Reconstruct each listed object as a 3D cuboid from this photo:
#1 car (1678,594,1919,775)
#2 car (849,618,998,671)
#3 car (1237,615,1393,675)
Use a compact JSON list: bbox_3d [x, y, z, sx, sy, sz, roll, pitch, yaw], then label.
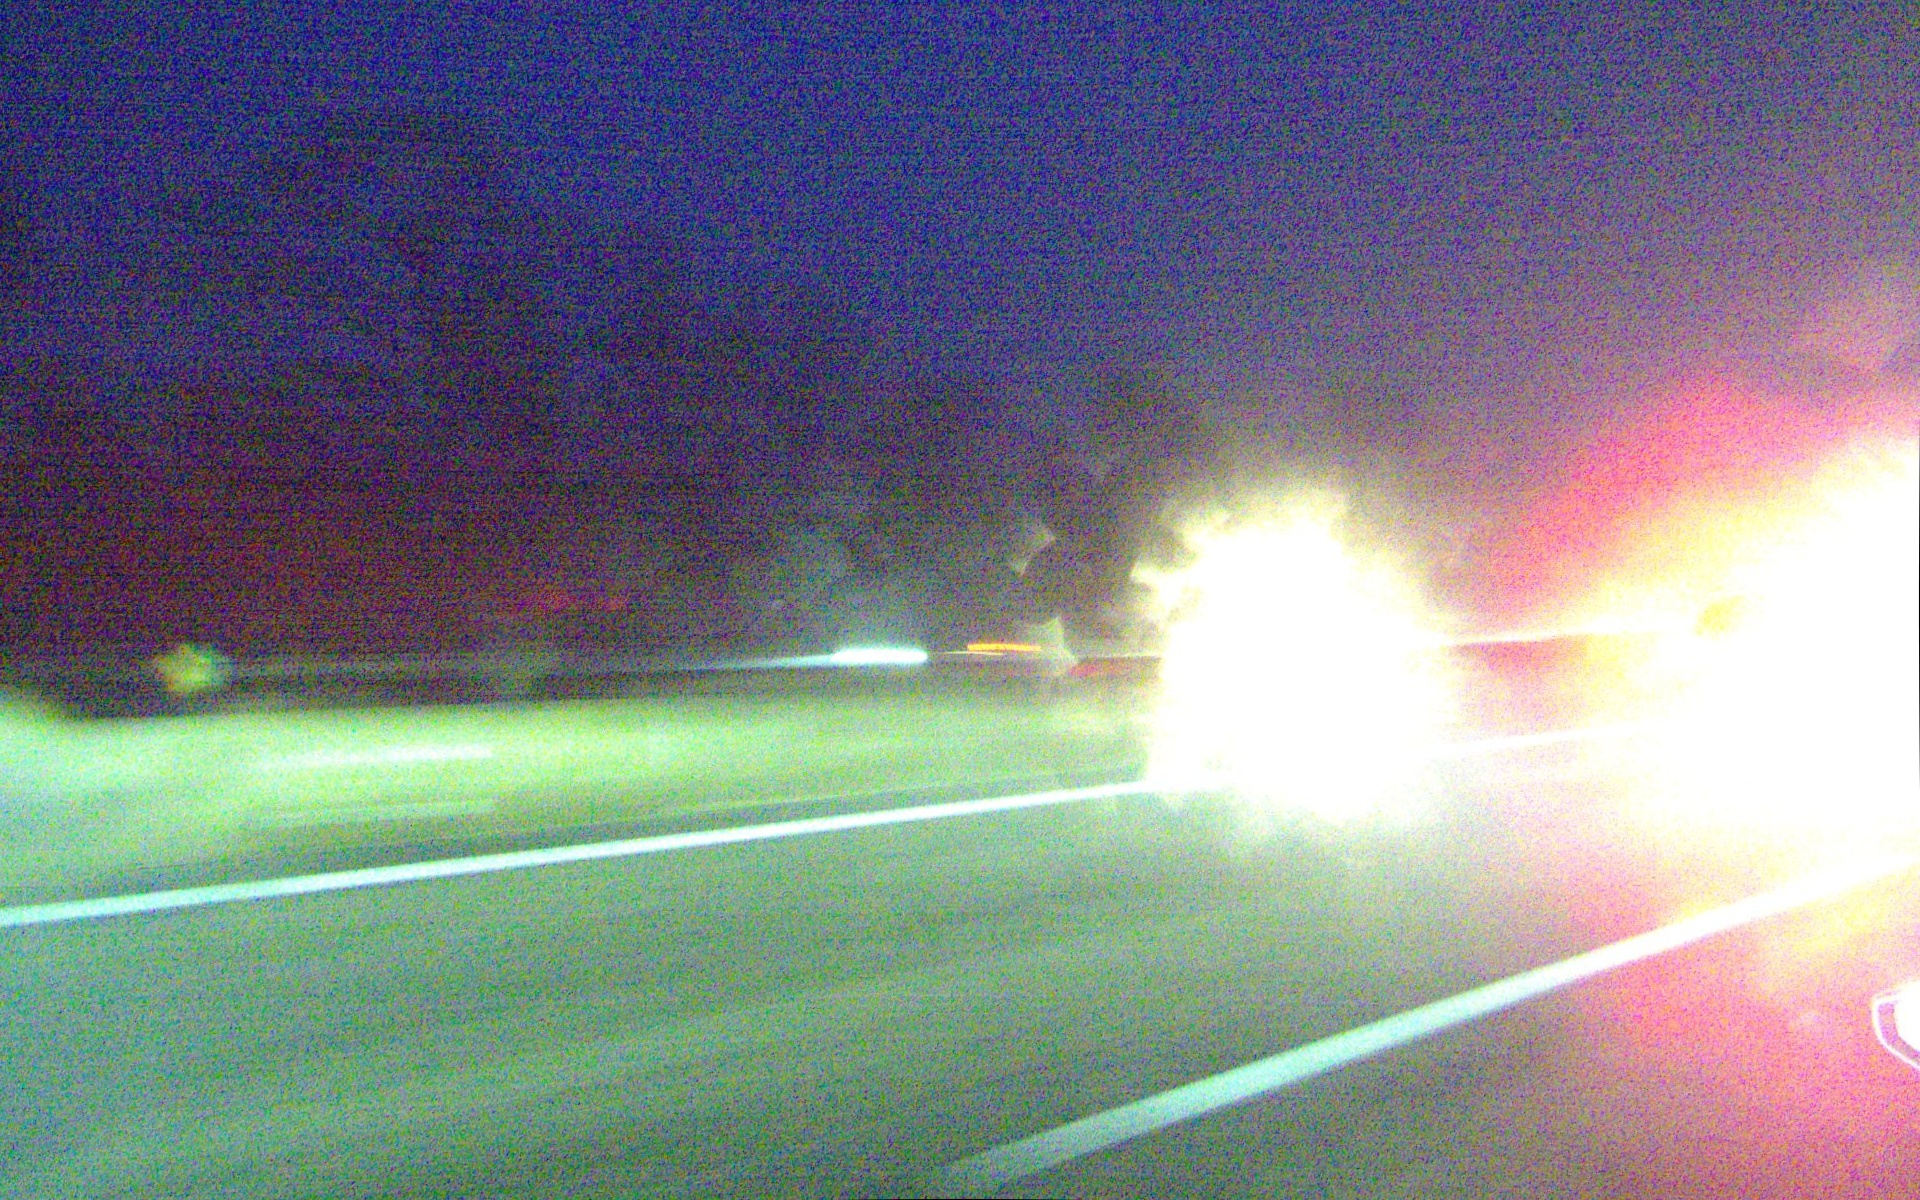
[{"bbox_3d":[9.922,0.731,10.849,4.696,1.561,1.849,-1,0,-31],"label":"car"},{"bbox_3d":[-1.008,1.213,28.406,3.957,1.362,1.642,0,0,-33],"label":"car"},{"bbox_3d":[8.932,1.067,25.171,3.957,1.362,1.642,0,0,-33],"label":"car"}]
